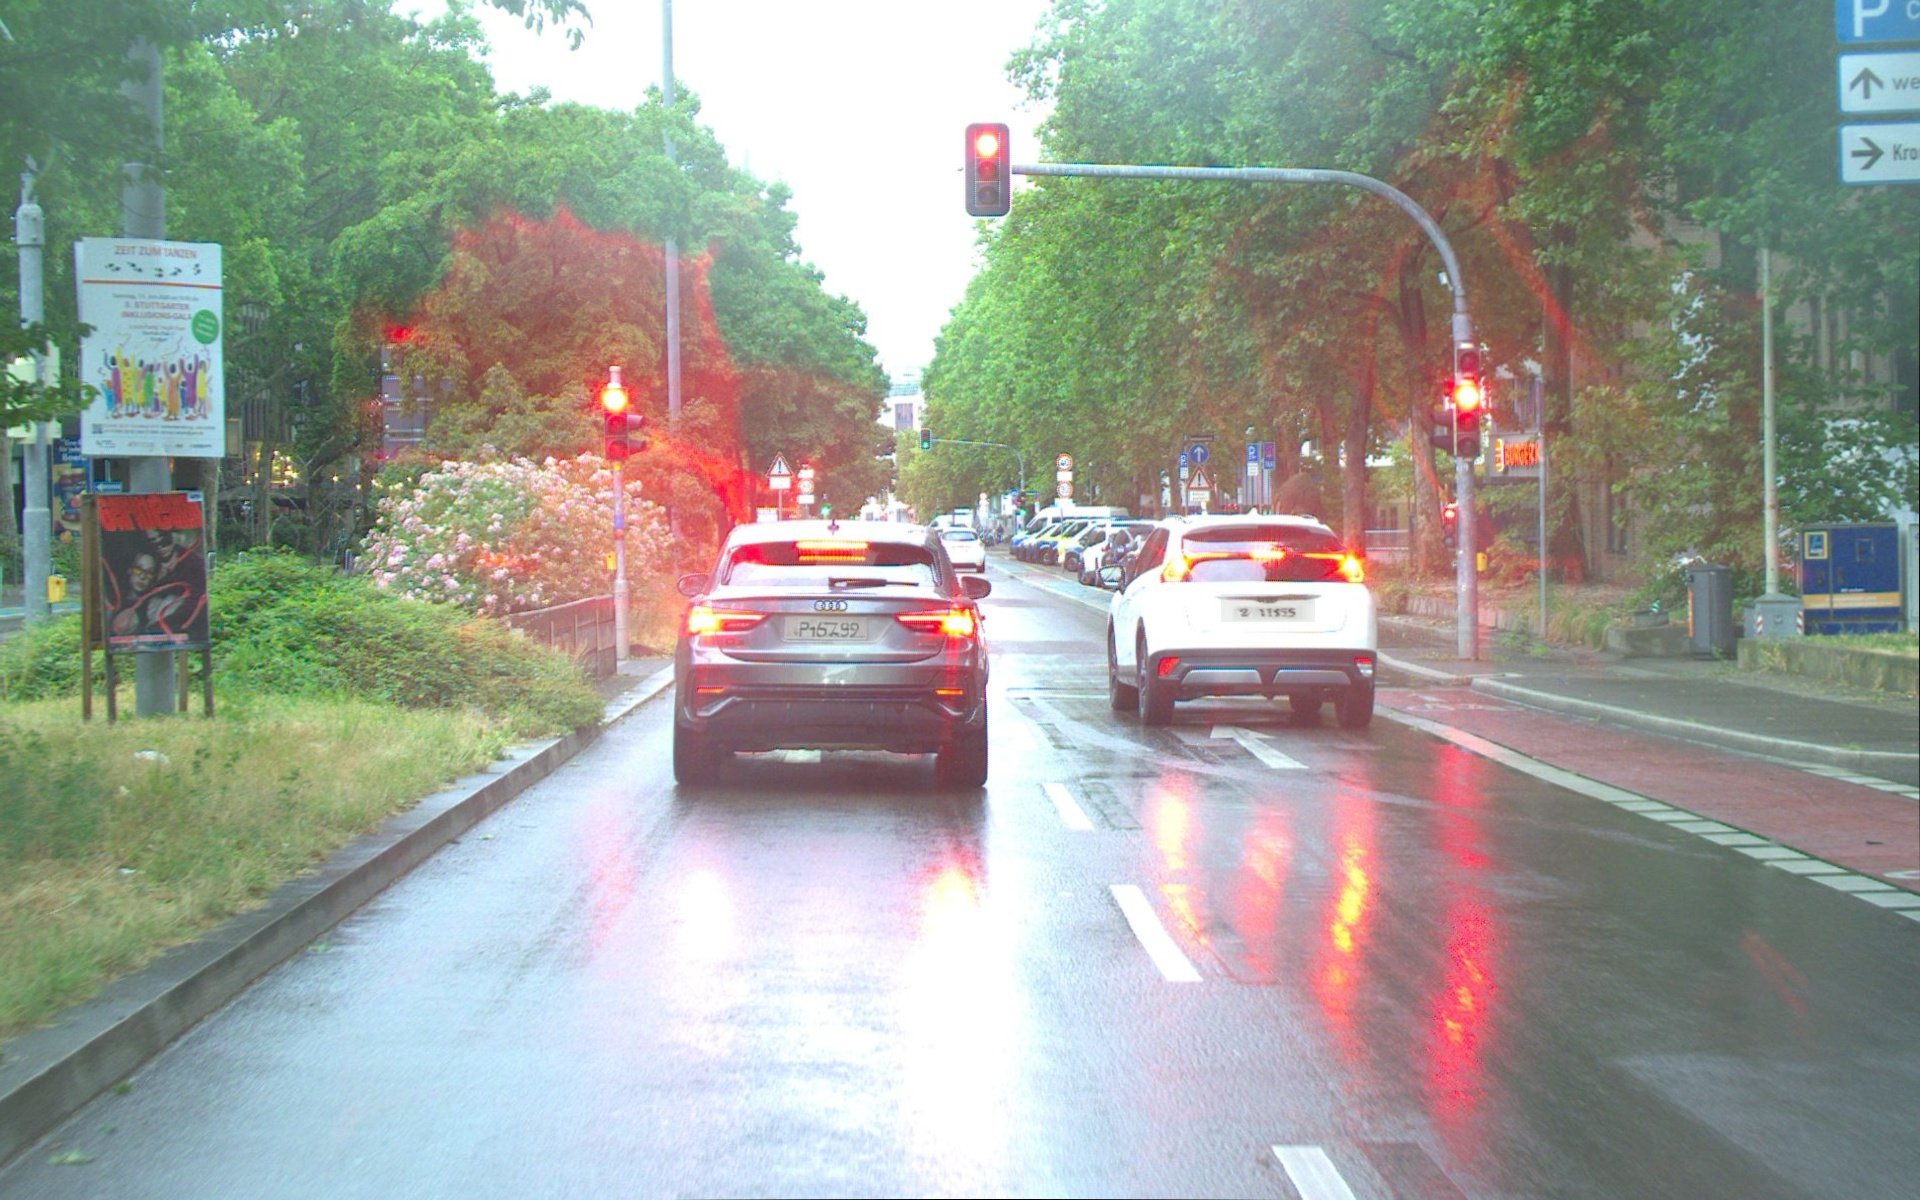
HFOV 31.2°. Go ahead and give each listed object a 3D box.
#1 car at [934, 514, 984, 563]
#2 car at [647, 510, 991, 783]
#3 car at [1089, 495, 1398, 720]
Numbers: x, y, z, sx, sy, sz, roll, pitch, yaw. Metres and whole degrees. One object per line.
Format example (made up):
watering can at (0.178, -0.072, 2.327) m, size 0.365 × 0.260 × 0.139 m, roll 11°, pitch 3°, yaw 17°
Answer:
car at (-0.051, -2.161, 120.034) m, size 1.620 × 1.660 × 4.001 m, roll -1°, pitch 2°, yaw -1°
car at (-0.839, 0.209, 21.184) m, size 1.918 × 1.486 × 4.001 m, roll 0°, pitch 2°, yaw -2°
car at (2.212, -0.017, 28.117) m, size 1.993 × 1.649 × 4.889 m, roll 0°, pitch 2°, yaw -2°
